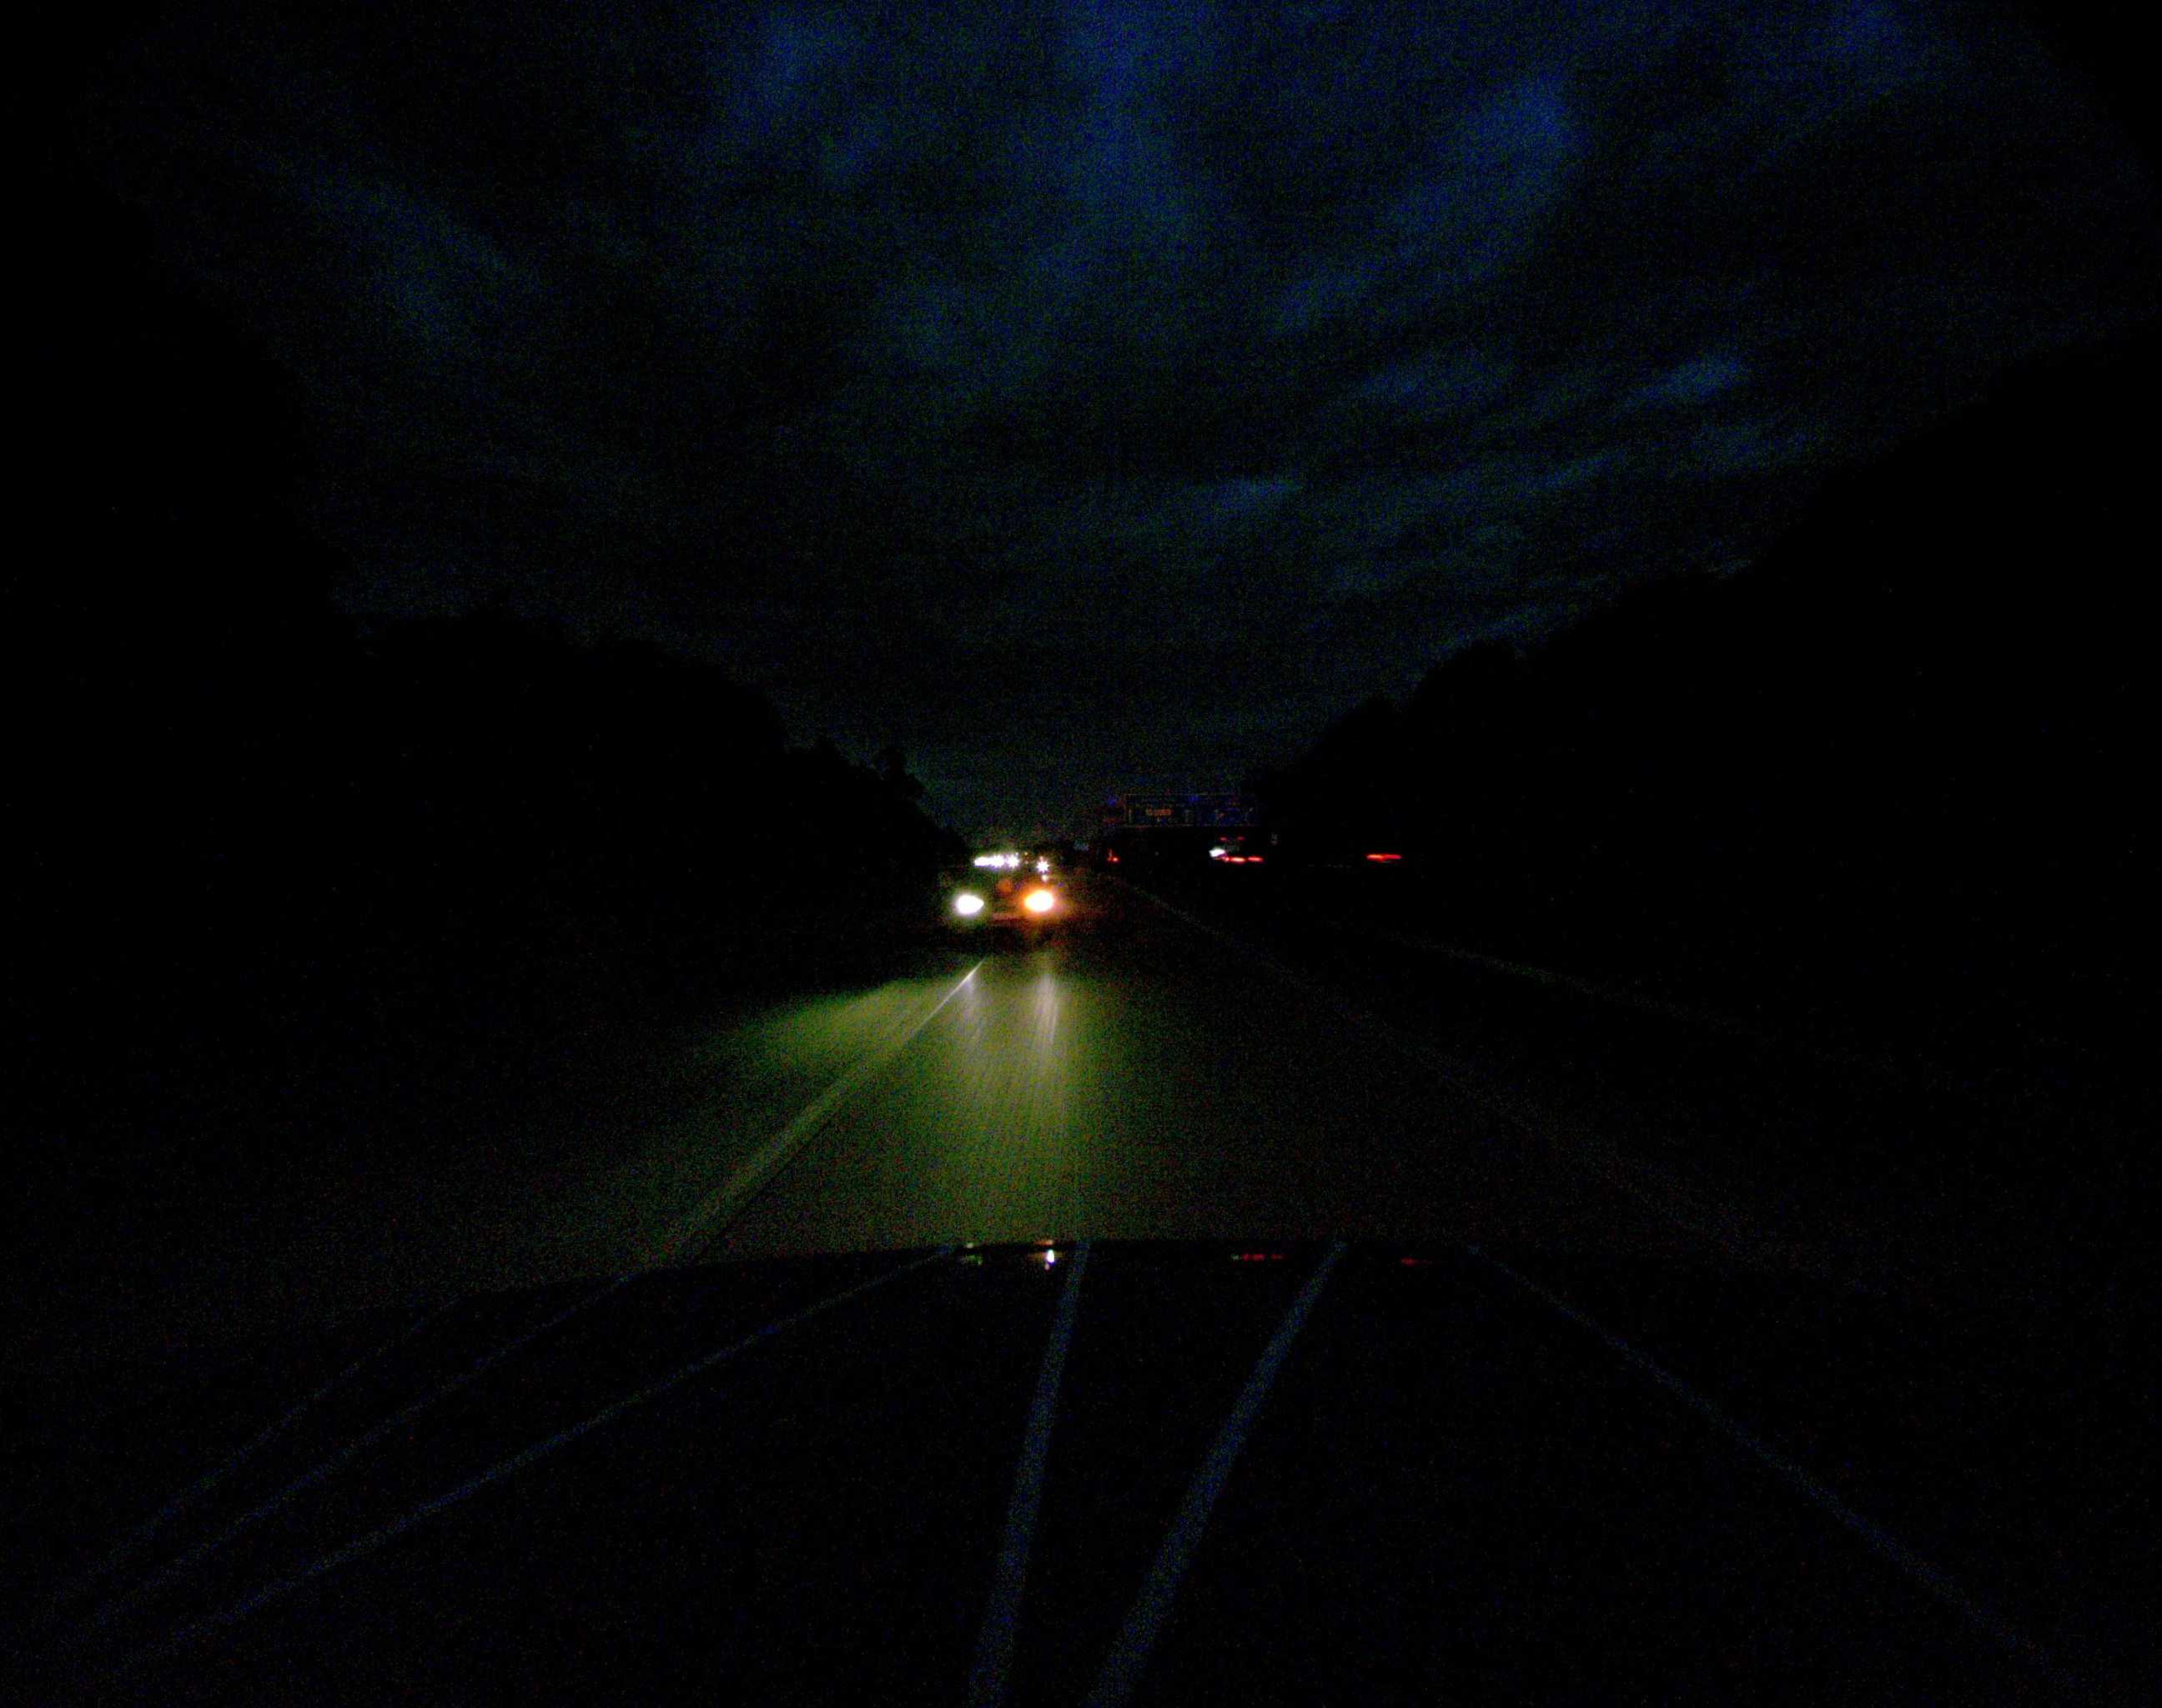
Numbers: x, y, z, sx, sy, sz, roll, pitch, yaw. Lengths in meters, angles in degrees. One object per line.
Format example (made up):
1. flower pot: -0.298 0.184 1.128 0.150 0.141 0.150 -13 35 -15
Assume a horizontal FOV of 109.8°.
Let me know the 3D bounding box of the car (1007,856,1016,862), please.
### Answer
1. car: -18.401 1.368 201.264 1.819 1.372 4.043 -2 0 1

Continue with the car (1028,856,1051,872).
1. car: -4.095 0.966 75.340 1.999 1.539 4.000 -2 0 -1

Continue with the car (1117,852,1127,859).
1. car: 10.315 0.334 192.307 1.999 1.787 4.371 -2 0 -4

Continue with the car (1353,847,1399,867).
1. car: 23.266 0.220 60.059 1.855 1.488 4.594 -2 0 0

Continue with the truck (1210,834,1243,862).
1. truck: 22.012 -0.925 115.271 2.652 3.987 10.543 -2 0 -1

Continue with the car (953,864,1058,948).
1. car: -1.452 0.978 16.103 1.880 1.435 4.450 -2 0 -2

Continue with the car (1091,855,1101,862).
1. car: 3.774 1.087 186.365 1.999 1.428 4.371 -2 0 -4

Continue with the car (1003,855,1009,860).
1. car: -23.387 1.219 237.005 1.999 1.539 3.998 -2 0 -4

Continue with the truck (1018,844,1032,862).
1. truck: -13.217 -0.132 178.688 3.146 3.987 10.540 -2 0 -5

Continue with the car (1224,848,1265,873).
1. car: 12.034 0.431 56.194 1.999 1.695 4.550 -2 0 -1

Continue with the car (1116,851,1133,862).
1. car: 6.872 0.436 119.548 1.999 1.591 4.820 -2 0 -4
